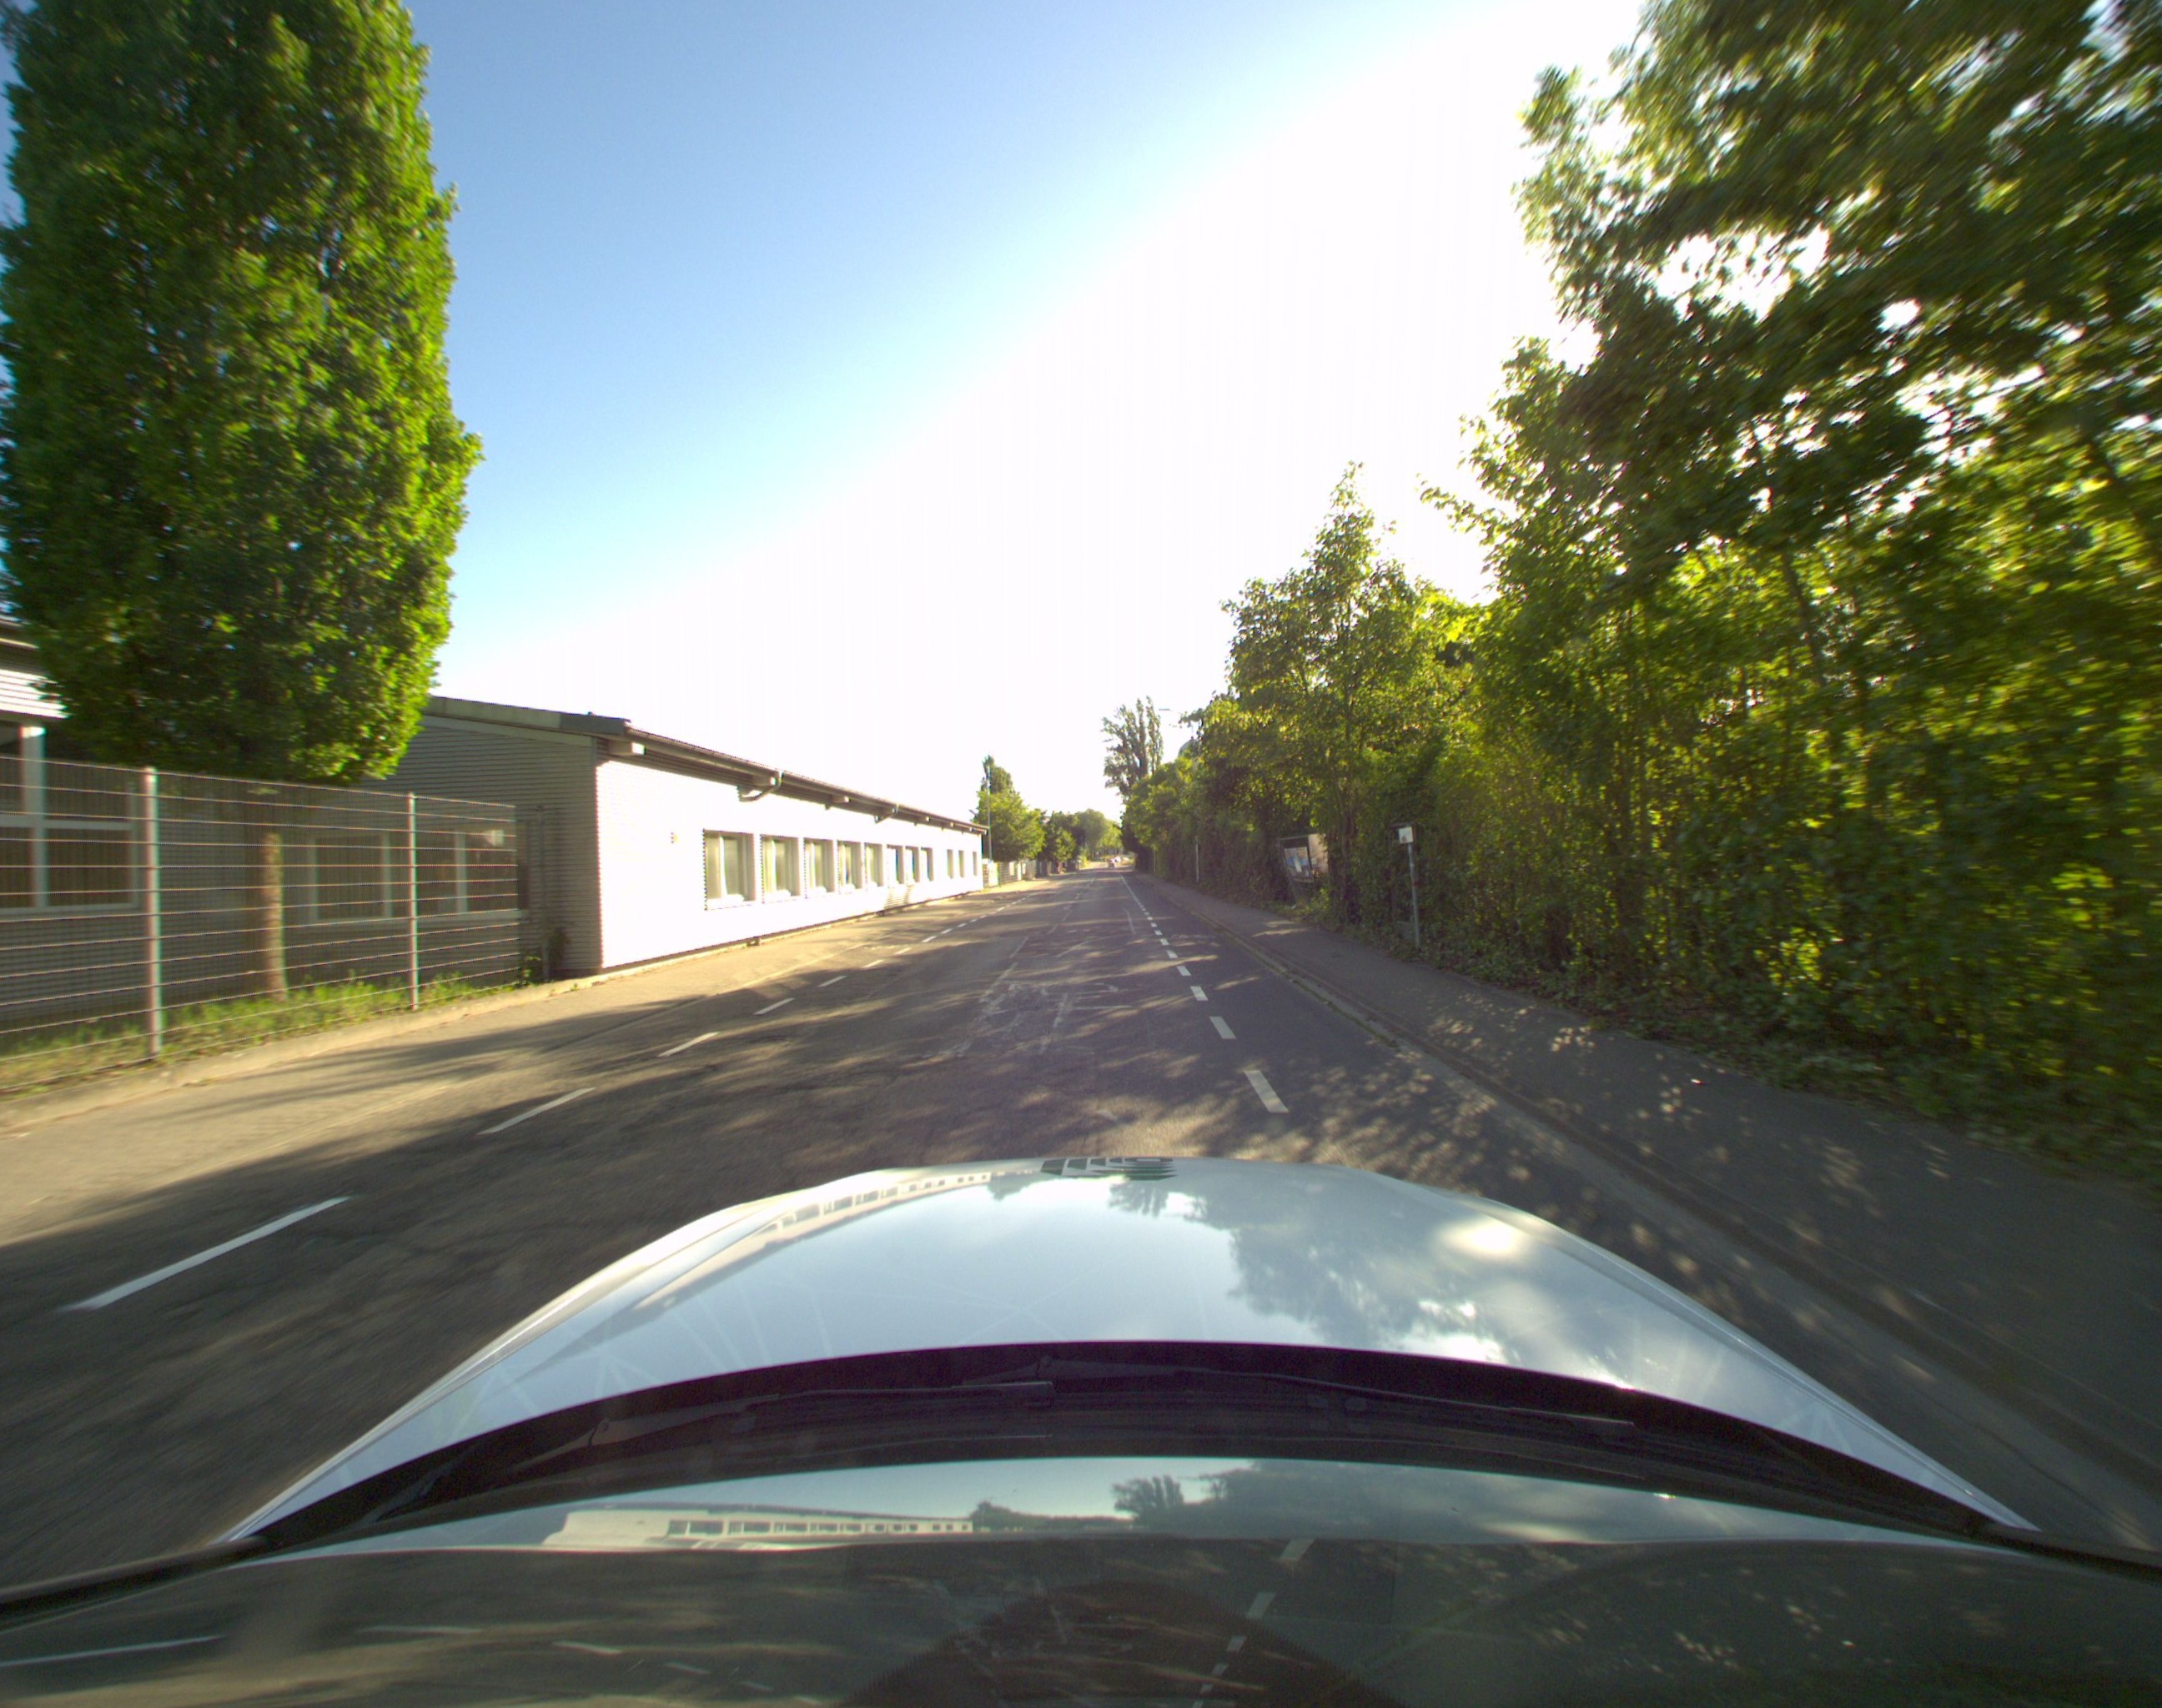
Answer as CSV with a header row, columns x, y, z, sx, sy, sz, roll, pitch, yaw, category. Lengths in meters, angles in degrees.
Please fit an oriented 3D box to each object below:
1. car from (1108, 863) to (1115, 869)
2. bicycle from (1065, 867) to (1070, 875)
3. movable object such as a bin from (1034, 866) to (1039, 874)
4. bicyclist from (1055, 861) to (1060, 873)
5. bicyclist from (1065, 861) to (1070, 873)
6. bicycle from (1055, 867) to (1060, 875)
x,y,z,sx,sy,sz,roll,pitch,yaw,category
8.196,3.263,221.194,1.935,1.651,4.311,-1,0,2,car
-1.787,2.324,108.492,0.686,1.034,1.351,-1,0,2,bicycle
-6.502,2.348,118.881,0.461,1.076,1.570,-2,-1,2,movable object such as a bin
-3.154,1.711,108.857,0.558,1.534,0.689,-1,0,2,bicyclist
-1.795,1.738,108.455,0.686,1.532,0.723,-1,0,2,bicyclist
-3.150,2.252,108.930,0.560,1.034,1.351,-1,0,2,bicycle
